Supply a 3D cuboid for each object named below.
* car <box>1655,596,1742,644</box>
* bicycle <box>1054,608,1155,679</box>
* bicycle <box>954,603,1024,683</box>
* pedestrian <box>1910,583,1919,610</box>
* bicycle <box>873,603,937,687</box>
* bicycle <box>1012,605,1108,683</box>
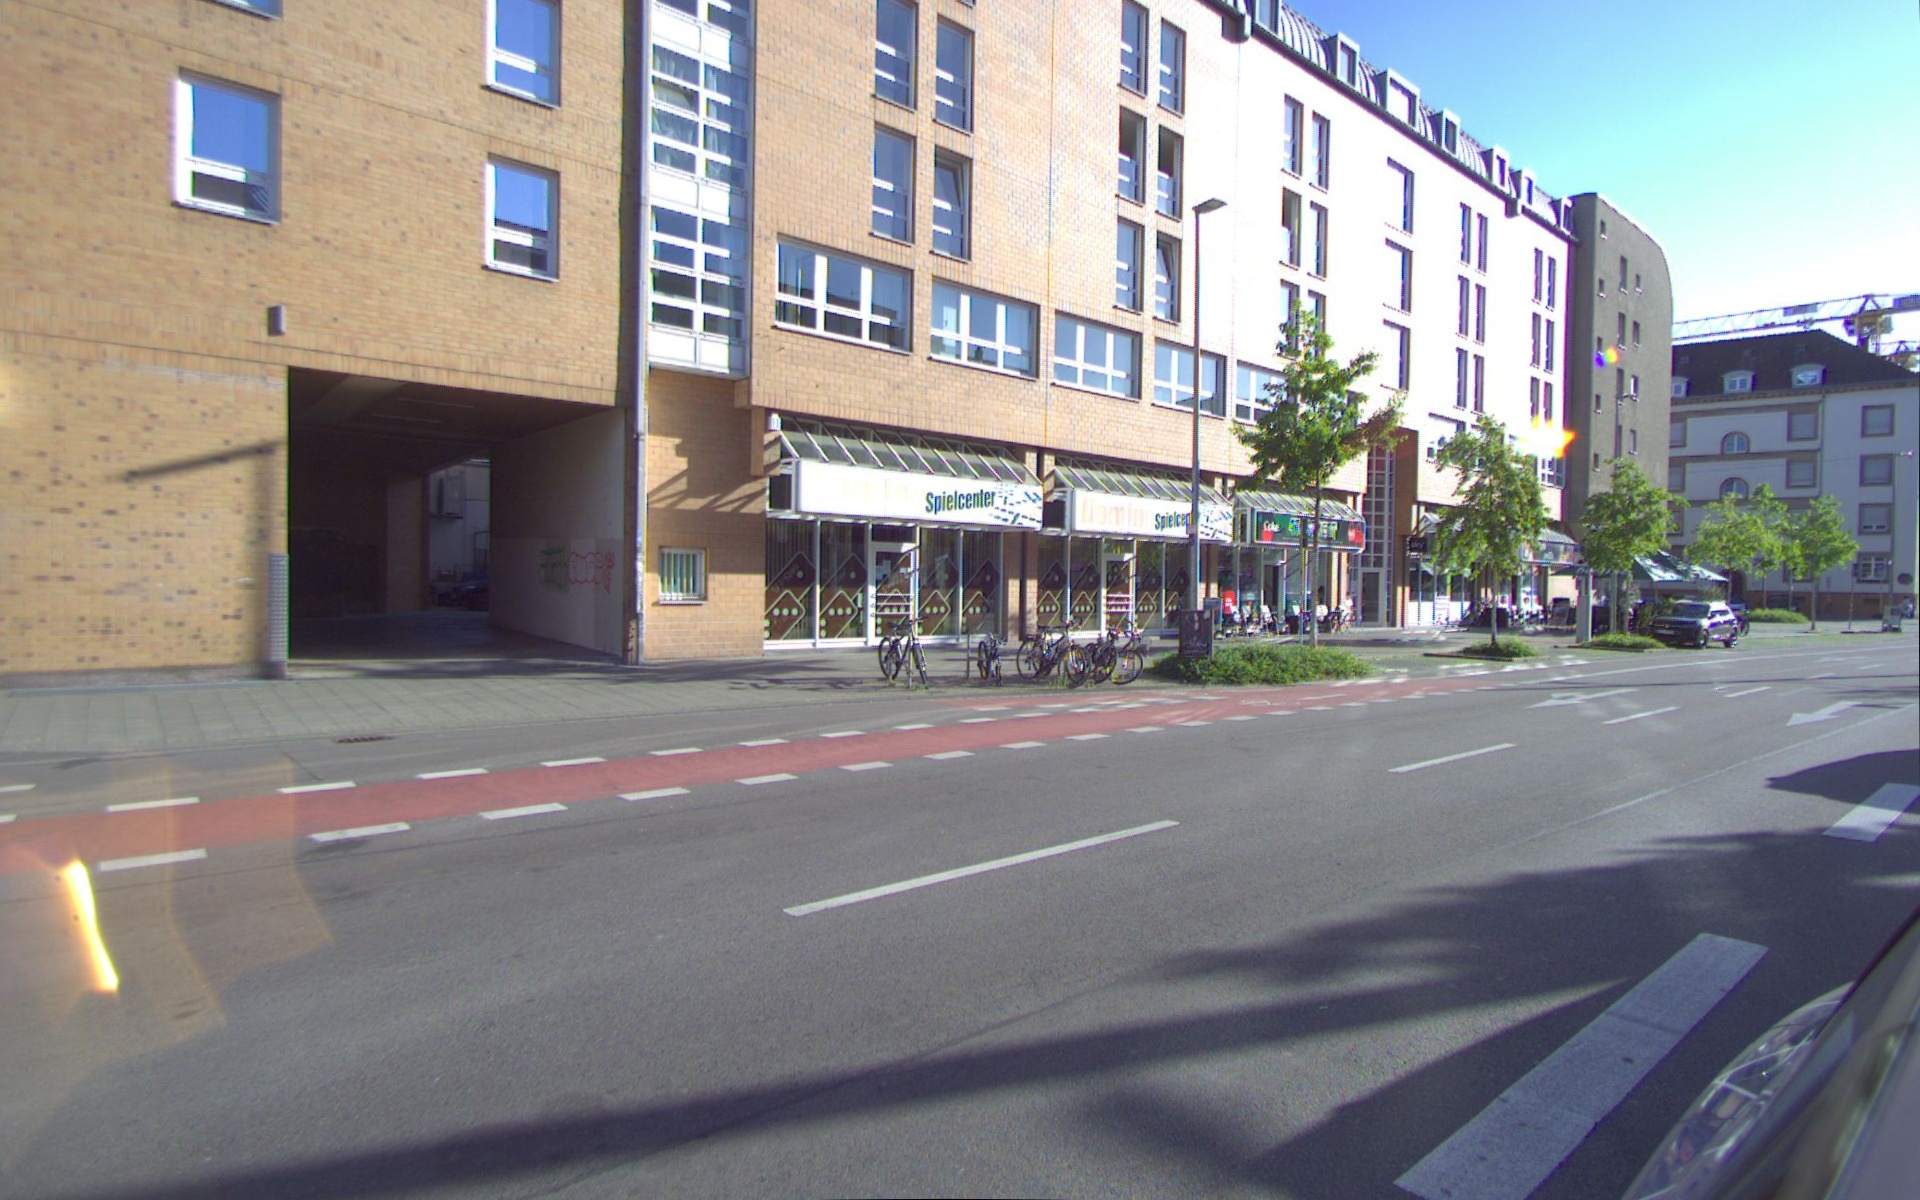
[{"bbox_3d":[25.828,0.663,35.366,3.628,1.549,1.654,-1,0,-40],"label":"car"},{"bbox_3d":[2.554,0.746,18.082,0.724,1.084,1.775,-1,3,-37],"label":"bicycle"},{"bbox_3d":[0.451,0.675,16.774,0.541,1.162,1.780,0,3,-20],"label":"bicycle"},{"bbox_3d":[60.144,-0.192,63.444,0.801,1.687,0.877,2,1,43],"label":"pedestrian"},{"bbox_3d":[-0.917,0.687,16.304,0.541,1.162,1.780,0,3,-20],"label":"bicycle"},{"bbox_3d":[1.678,0.717,17.246,0.543,1.155,1.775,-1,3,-37],"label":"bicycle"}]
